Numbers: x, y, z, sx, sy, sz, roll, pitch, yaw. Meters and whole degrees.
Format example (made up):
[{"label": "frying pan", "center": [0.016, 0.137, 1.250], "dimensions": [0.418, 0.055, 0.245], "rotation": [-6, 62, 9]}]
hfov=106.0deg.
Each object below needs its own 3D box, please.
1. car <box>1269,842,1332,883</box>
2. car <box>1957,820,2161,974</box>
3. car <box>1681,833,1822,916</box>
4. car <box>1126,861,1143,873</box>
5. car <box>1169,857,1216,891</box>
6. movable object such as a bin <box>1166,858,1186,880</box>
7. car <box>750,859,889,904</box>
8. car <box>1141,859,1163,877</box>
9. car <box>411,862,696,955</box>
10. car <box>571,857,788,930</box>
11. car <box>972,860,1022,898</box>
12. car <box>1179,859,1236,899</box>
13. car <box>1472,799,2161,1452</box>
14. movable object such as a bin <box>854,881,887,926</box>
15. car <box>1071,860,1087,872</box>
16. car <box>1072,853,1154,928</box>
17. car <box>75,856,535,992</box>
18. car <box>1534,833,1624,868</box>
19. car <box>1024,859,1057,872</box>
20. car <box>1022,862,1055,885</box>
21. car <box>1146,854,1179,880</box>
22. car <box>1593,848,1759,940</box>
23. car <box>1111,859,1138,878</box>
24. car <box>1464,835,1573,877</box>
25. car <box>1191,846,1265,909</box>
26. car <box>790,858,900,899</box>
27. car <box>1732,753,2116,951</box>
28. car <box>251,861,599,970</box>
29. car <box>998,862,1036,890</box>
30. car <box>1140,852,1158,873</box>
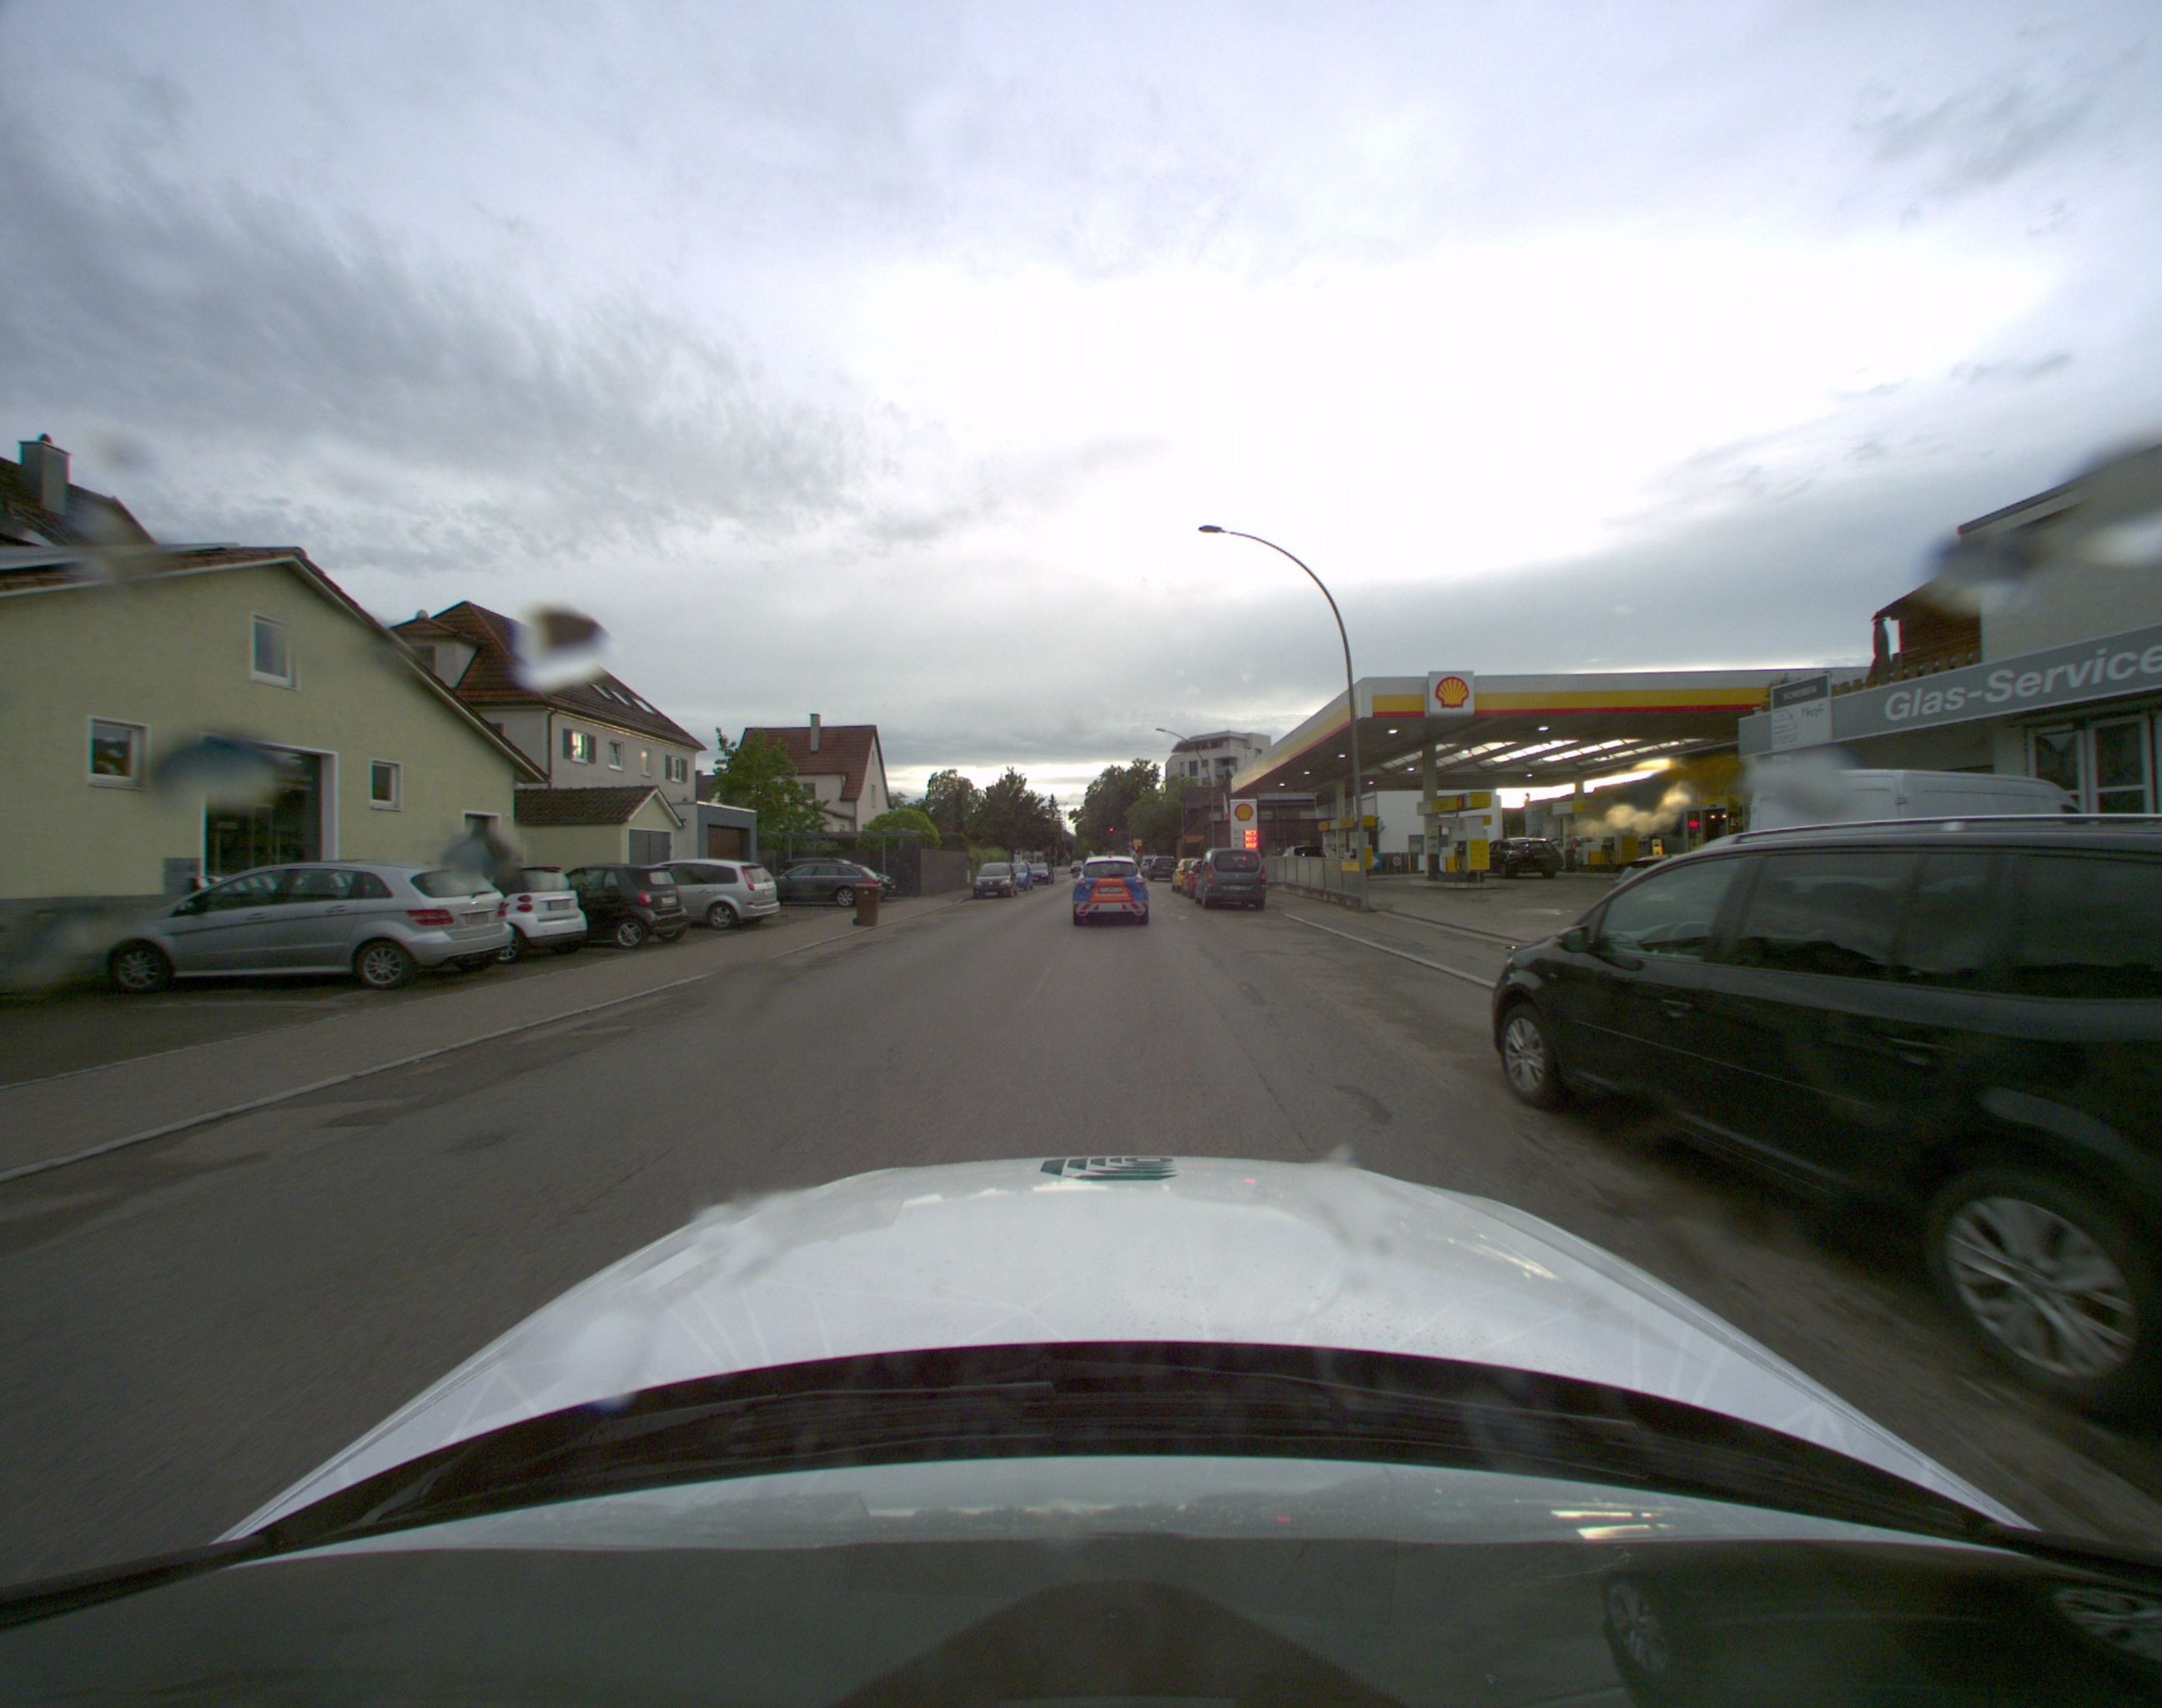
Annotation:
[{"label": "car", "center": [10.086, 0.372, 37.710], "dimensions": [1.814, 1.759, 3.999], "rotation": [-1, 0, 0]}, {"label": "car", "center": [13.185, 0.399, 9.355], "dimensions": [4.289, 1.573, 1.896], "rotation": [-1, 0, -2]}, {"label": "car", "center": [15.196, 0.402, 18.367], "dimensions": [4.386, 1.641, 1.975], "rotation": [-1, -1, -44]}, {"label": "car", "center": [6.726, 1.621, 102.434], "dimensions": [1.789, 1.428, 3.999], "rotation": [0, 1, -1]}, {"label": "car", "center": [4.824, 0.827, 35.657], "dimensions": [1.650, 1.402, 3.803], "rotation": [-1, 0, 2]}, {"label": "movable object such as a bin", "center": [6.218, 0.958, 53.536], "dimensions": [1.123, 1.388, 1.504], "rotation": [-1, 0, 0]}, {"label": "car", "center": [-8.639, 0.902, 27.126], "dimensions": [4.073, 1.414, 1.712], "rotation": [0, 0, -2]}, {"label": "car", "center": [6.787, 1.292, 77.923], "dimensions": [1.858, 1.665, 4.322], "rotation": [-1, 0, 2]}, {"label": "car", "center": [-9.672, 0.960, 15.196], "dimensions": [4.075, 1.503, 1.754], "rotation": [-1, 0, -4]}, {"label": "car", "center": [-9.255, 0.878, 19.059], "dimensions": [4.075, 1.513, 1.881], "rotation": [-1, 0, -4]}, {"label": "car", "center": [-3.659, 1.073, 35.882], "dimensions": [1.602, 1.506, 3.709], "rotation": [-3, 0, 2]}, {"label": "car", "center": [4.739, 0.894, 30.855], "dimensions": [1.650, 1.376, 4.026], "rotation": [-1, 0, 2]}, {"label": "car", "center": [3.629, 0.631, 3.501], "dimensions": [1.987, 1.596, 4.000], "rotation": [-2, 0, 0]}, {"label": "movable object such as a bin", "center": [-5.475, 1.279, 21.161], "dimensions": [0.593, 1.057, 0.687], "rotation": [4, 1, 2]}, {"label": "car", "center": [-0.238, 1.448, 100.462], "dimensions": [1.619, 1.433, 3.687], "rotation": [-1, 0, 4]}, {"label": "car", "center": [0.776, 0.795, 19.760], "dimensions": [1.739, 1.581, 4.002], "rotation": [-2, 0, 2]}, {"label": "car", "center": [-10.068, 0.849, 10.902], "dimensions": [4.075, 1.533, 1.997], "rotation": [-1, -1, -4]}, {"label": "car", "center": [21.943, -0.141, 36.054], "dimensions": [1.733, 1.466, 3.782], "rotation": [-1, 0, 2]}, {"label": "car", "center": [-5.233, 1.489, 105.249], "dimensions": [3.968, 1.544, 1.806], "rotation": [0, 0, 4]}, {"label": "car", "center": [-2.801, 1.272, 54.288], "dimensions": [1.799, 1.403, 3.947], "rotation": [-3, 0, 2]}, {"label": "car", "center": [5.659, 0.891, 56.954], "dimensions": [2.083, 1.662, 4.562], "rotation": [0, 1, 2]}, {"label": "car", "center": [10.686, 0.613, 14.523], "dimensions": [4.023, 1.374, 1.758], "rotation": [-1, 0, -45]}, {"label": "car", "center": [3.900, 1.279, 72.333], "dimensions": [1.982, 1.574, 4.009], "rotation": [0, 1, 8]}, {"label": "car", "center": [16.490, 0.074, 30.987], "dimensions": [1.733, 1.466, 4.675], "rotation": [-1, 0, 2]}, {"label": "car", "center": [4.461, 0.667, 25.281], "dimensions": [1.650, 1.738, 4.446], "rotation": [1, 0, 2]}, {"label": "car", "center": [-8.697, 0.890, 30.247], "dimensions": [3.576, 1.457, 1.755], "rotation": [0, -1, -3]}, {"label": "car", "center": [12.623, -0.065, 12.245], "dimensions": [4.804, 2.520, 2.233], "rotation": [-1, 0, -20]}, {"label": "car", "center": [-10.401, 0.927, 13.172], "dimensions": [4.073, 1.532, 1.812], "rotation": [-1, 0, -2]}, {"label": "car", "center": [-3.411, 1.154, 43.909], "dimensions": [1.539, 1.403, 3.599], "rotation": [-3, 0, 2]}, {"label": "car", "center": [7.018, 0.873, 84.046], "dimensions": [1.769, 2.029, 4.760], "rotation": [0, 1, 5]}]
